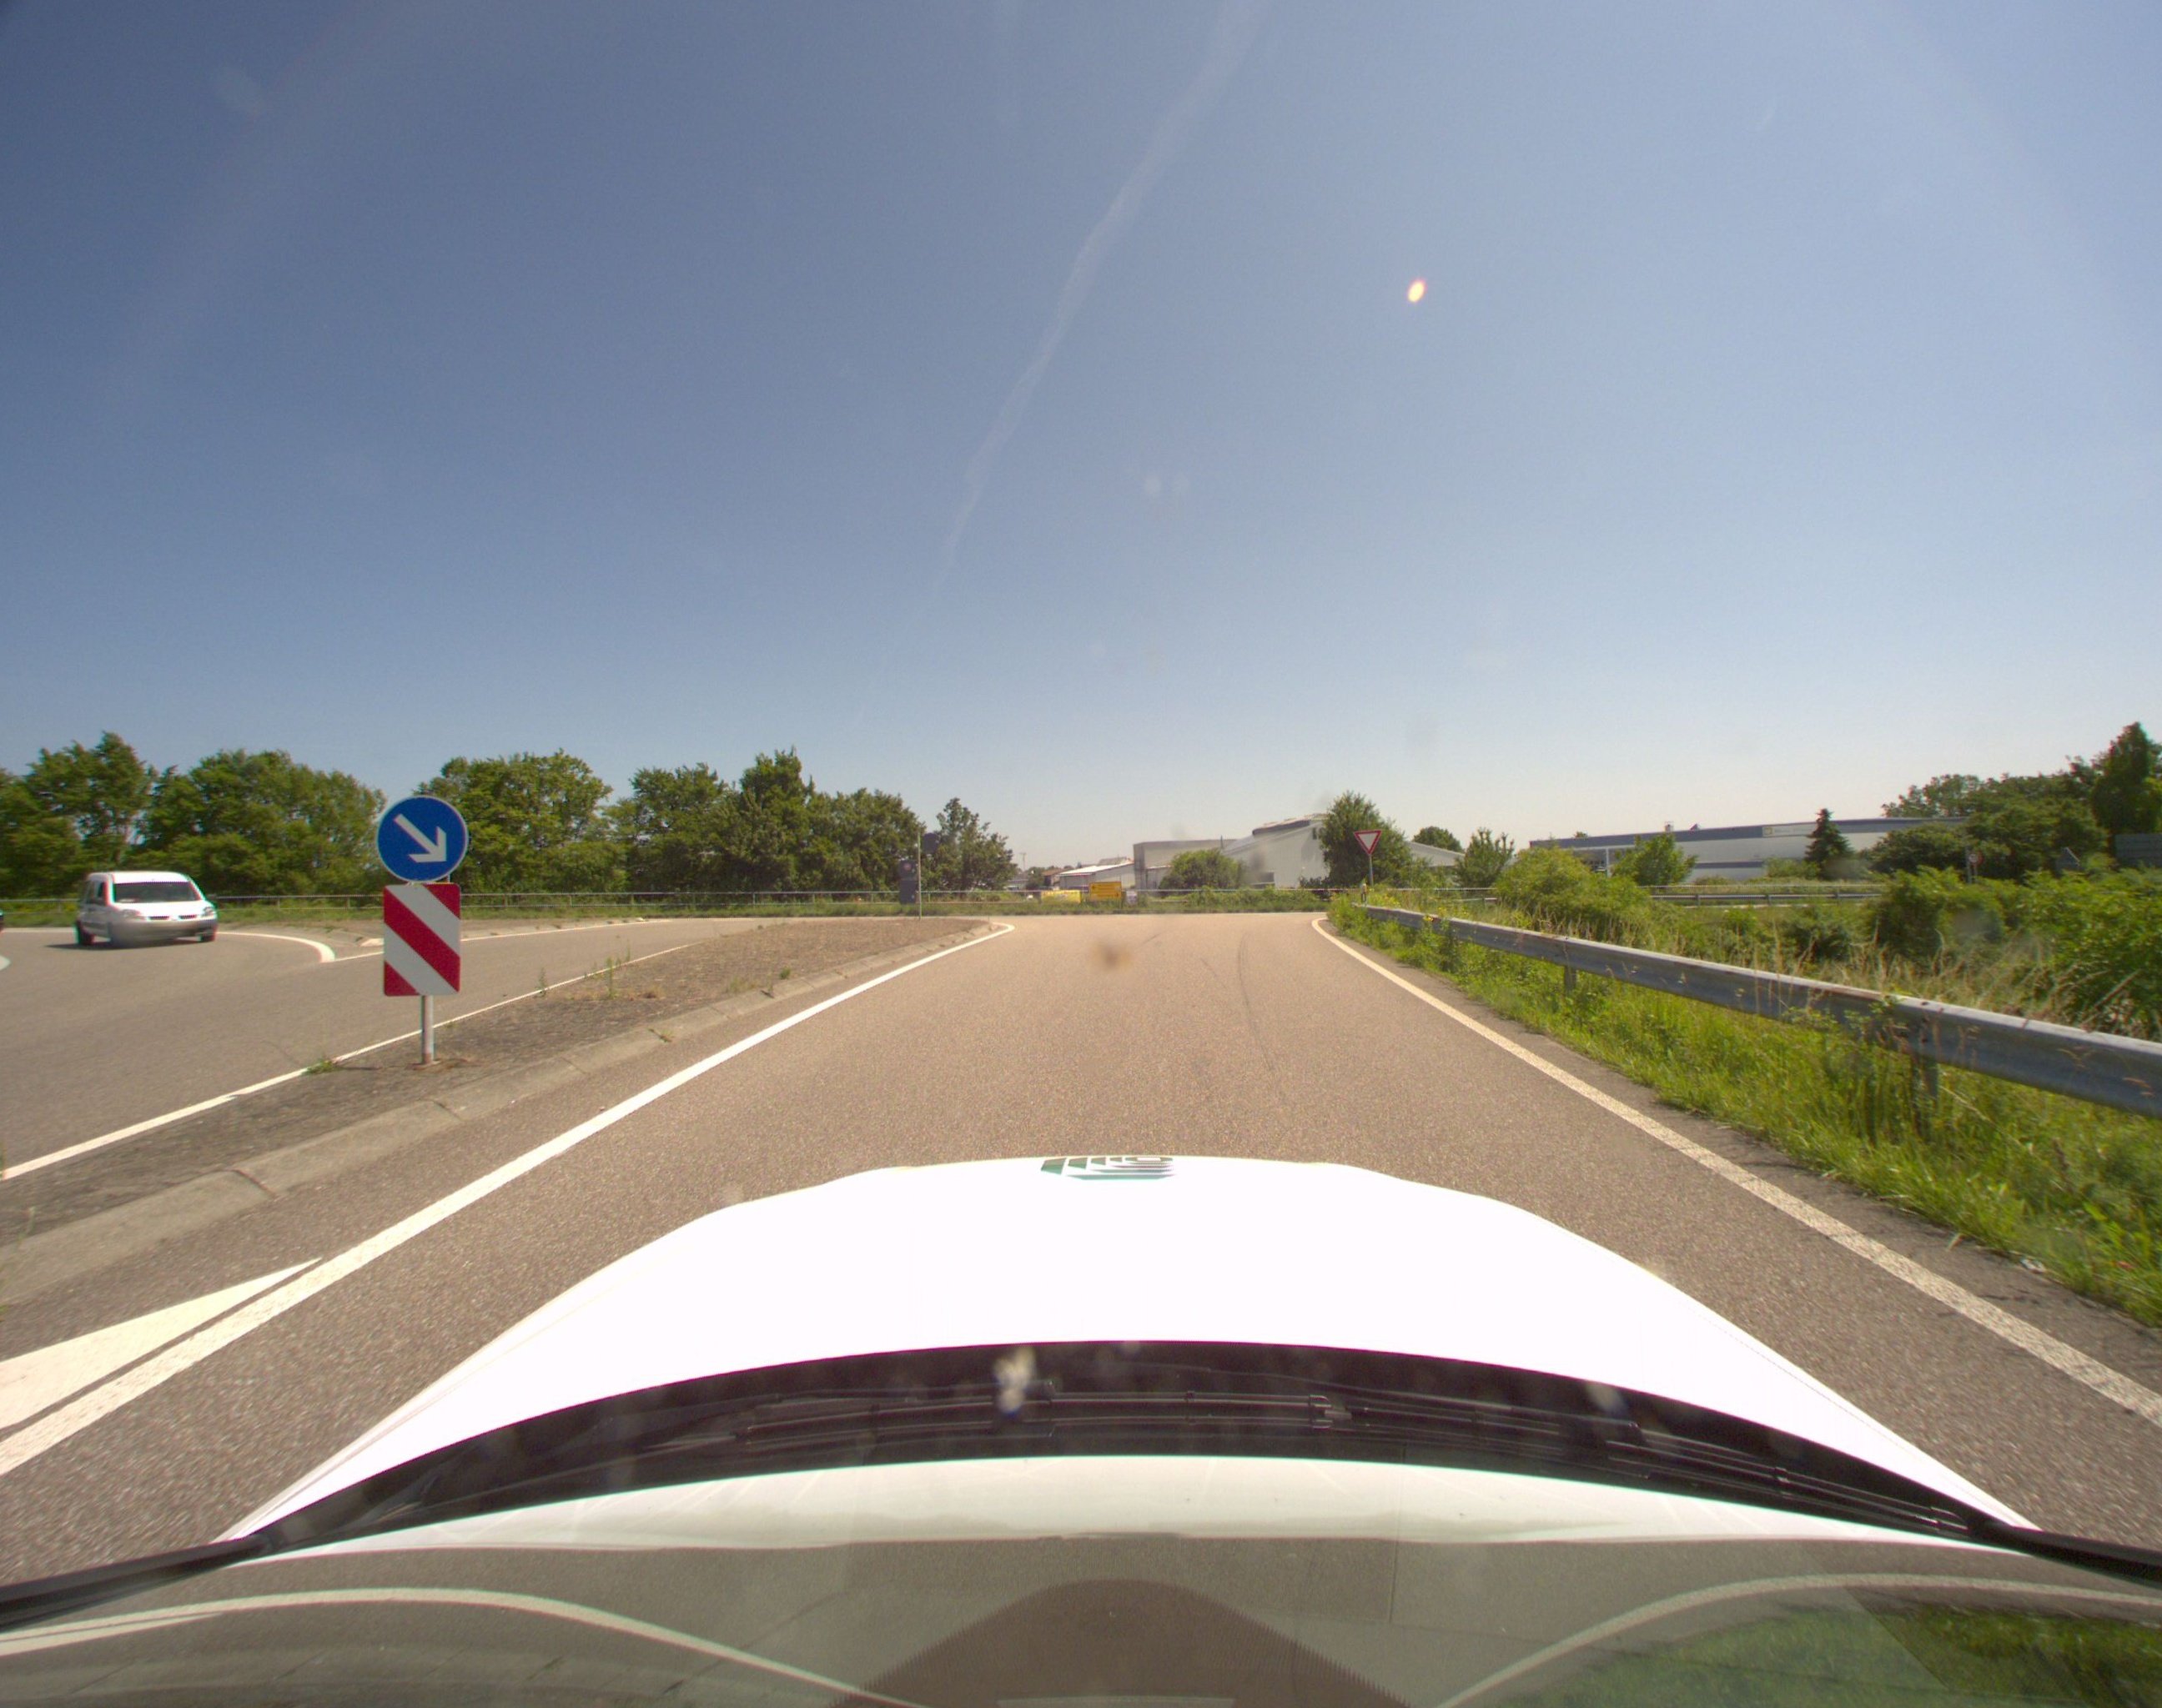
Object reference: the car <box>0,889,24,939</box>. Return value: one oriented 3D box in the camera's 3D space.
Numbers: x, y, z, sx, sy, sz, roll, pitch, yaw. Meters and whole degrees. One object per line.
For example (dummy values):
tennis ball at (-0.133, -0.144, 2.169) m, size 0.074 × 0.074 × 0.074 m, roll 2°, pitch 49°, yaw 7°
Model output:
car at (-32.577, 1.815, 22.944) m, size 3.851 × 1.395 × 1.719 m, roll -3°, pitch 1°, yaw 9°

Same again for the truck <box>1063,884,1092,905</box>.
truck at (-0.834, 9.012, 181.633) m, size 3.712 × 4.312 × 13.279 m, roll 0°, pitch -3°, yaw -13°

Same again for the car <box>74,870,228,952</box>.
car at (-22.886, 1.357, 20.022) m, size 4.030 × 1.761 × 1.753 m, roll -2°, pitch 0°, yaw 31°
